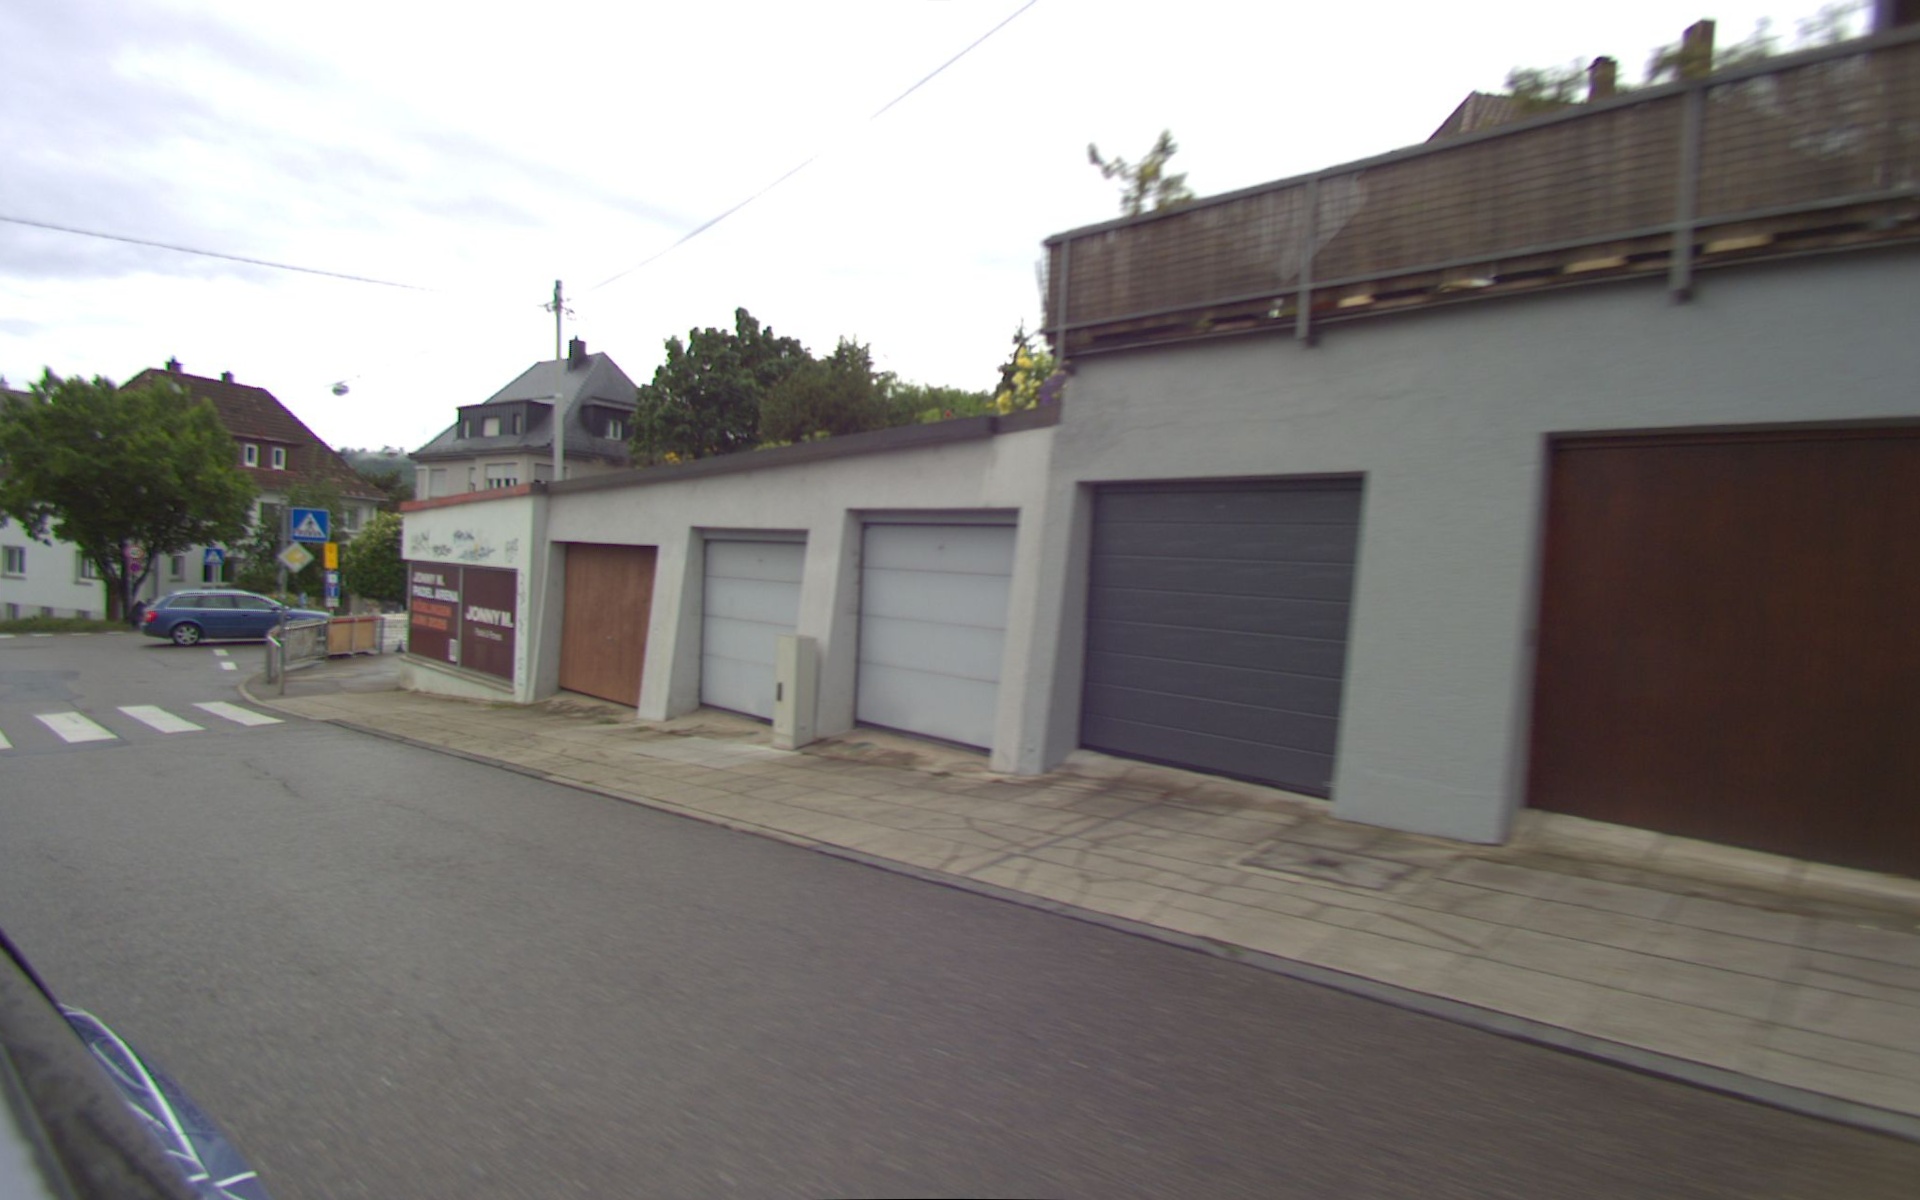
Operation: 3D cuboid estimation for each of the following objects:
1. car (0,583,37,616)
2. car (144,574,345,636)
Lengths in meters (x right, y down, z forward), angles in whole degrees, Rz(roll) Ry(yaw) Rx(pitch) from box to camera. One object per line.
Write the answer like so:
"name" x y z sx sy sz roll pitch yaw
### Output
"car" -50.064 -0.031 51.544 1.865 1.686 4.192 0 0 21
"car" -19.795 0.088 28.119 4.415 1.497 2.004 -1 4 -38
